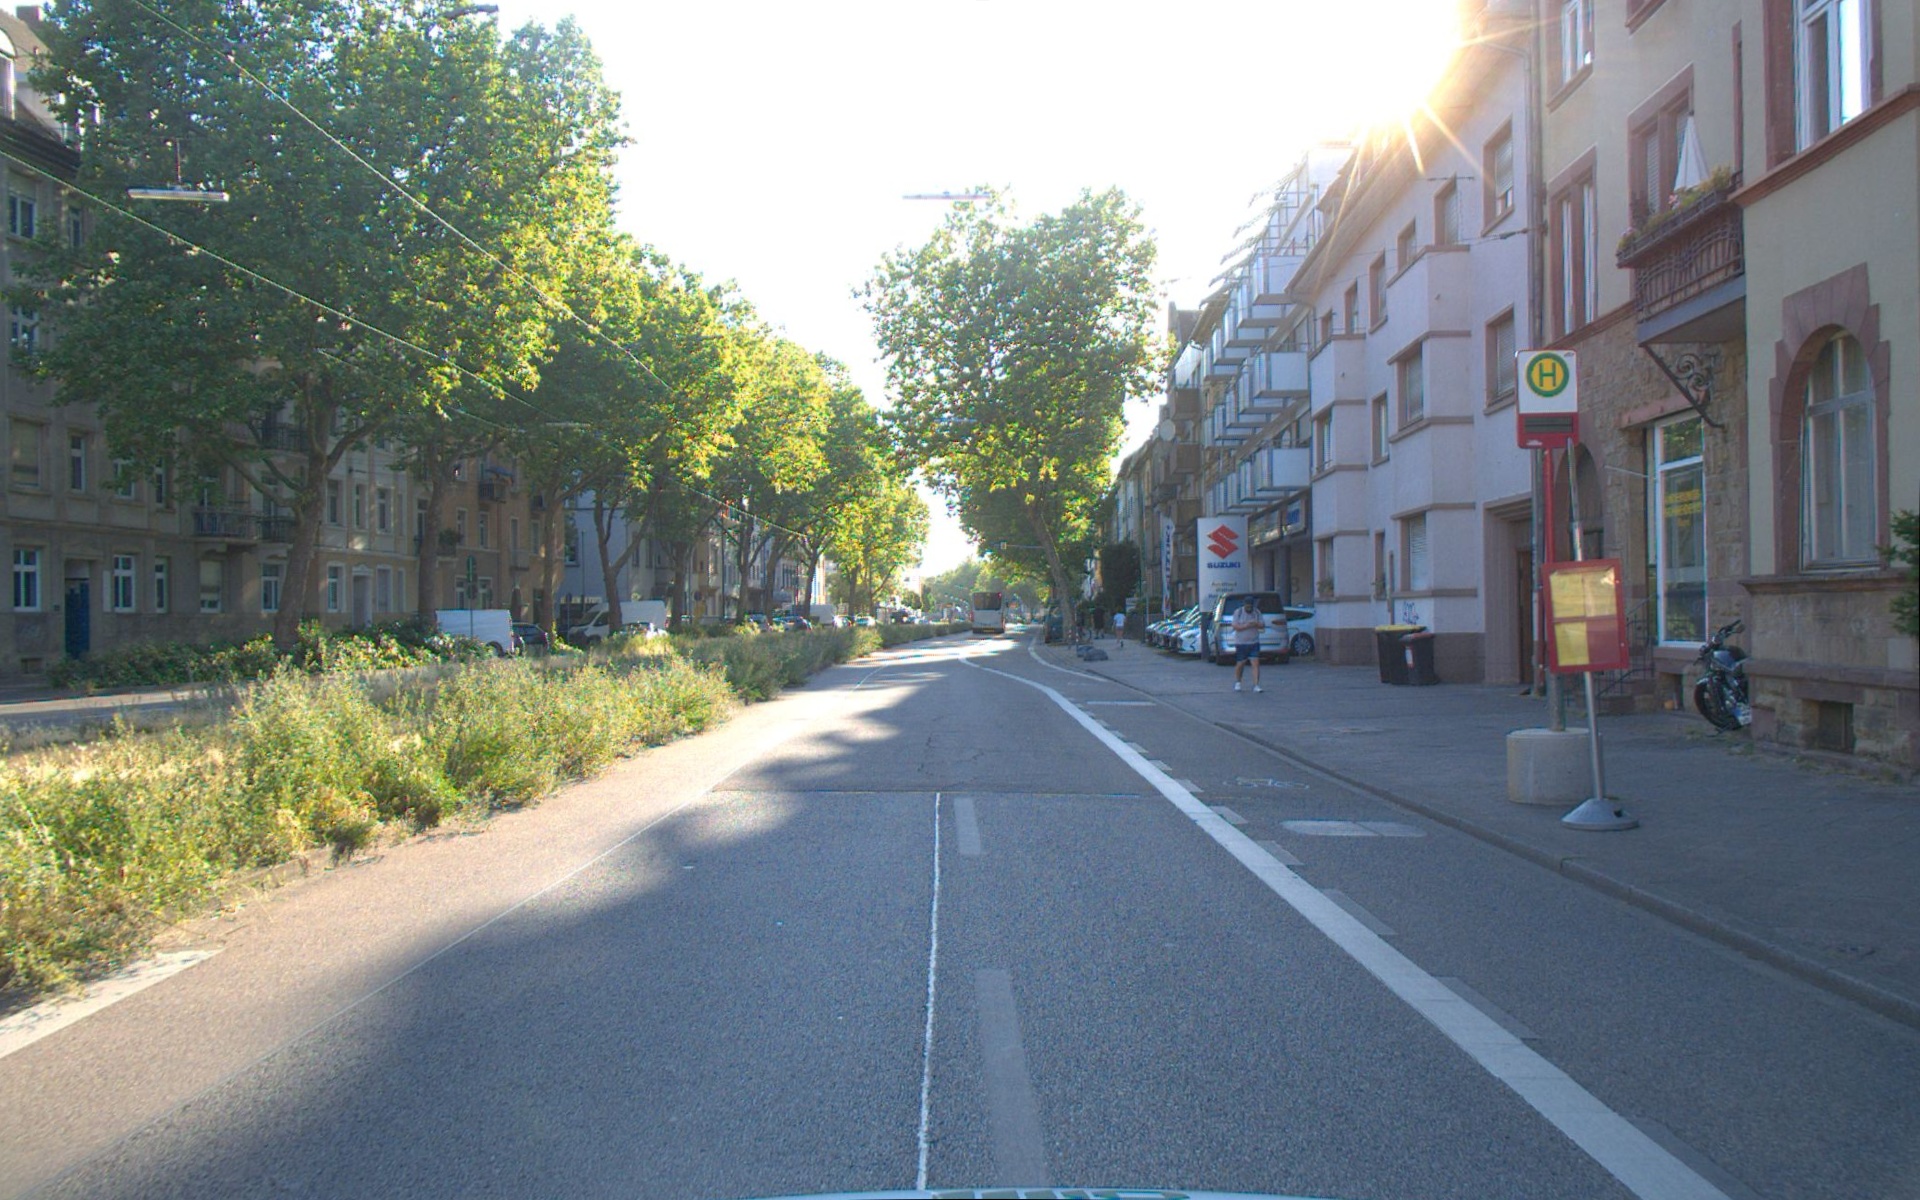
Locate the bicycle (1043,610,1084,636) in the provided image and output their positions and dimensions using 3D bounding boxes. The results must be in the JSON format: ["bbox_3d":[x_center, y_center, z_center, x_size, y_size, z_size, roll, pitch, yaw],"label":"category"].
[{"bbox_3d":[4.735,1.056,75.669,1.806,1.163,0.348,-1,-1,2],"label":"bicycle"}]

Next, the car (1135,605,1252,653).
[{"bbox_3d":[7.978,0.987,56.784,3.740,1.567,1.859,-1,0,1],"label":"car"}]

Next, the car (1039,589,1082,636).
[{"bbox_3d":[5.071,0.674,84.243,1.952,2.297,5.236,-1,-1,1],"label":"car"}]

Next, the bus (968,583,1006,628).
[{"bbox_3d":[2.058,0.457,128.065,2.775,3.292,8.181,-1,-1,0],"label":"bus"}]

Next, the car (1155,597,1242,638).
[{"bbox_3d":[9.760,0.725,67.927,3.348,1.573,1.442,-1,-1,0],"label":"car"}]

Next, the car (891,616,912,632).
[{"bbox_3d":[-6.320,2.584,177.958,1.833,1.723,4.768,-1,-1,-7],"label":"car"}]

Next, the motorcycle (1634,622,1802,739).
[{"bbox_3d":[8.036,0.826,17.668,0.577,1.157,2.504,-1,-1,-1],"label":"motorcycle"}]

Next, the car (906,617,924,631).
[{"bbox_3d":[-5.379,2.878,198.724,1.752,1.601,4.001,-1,-1,3],"label":"car"}]

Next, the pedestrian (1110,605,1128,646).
[{"bbox_3d":[6.480,1.032,67.392,0.649,1.657,0.923,-1,-1,2],"label":"pedestrian"}]

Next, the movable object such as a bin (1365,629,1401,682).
[{"bbox_3d":[8.070,1.051,31.554,0.542,0.986,0.585,-1,-1,4],"label":"movable object such as a bin"}]

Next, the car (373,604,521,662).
[{"bbox_3d":[-19.655,1.238,63.538,5.197,2.102,1.697,-1,-1,-40],"label":"car"}]

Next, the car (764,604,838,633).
[{"bbox_3d":[-15.501,1.789,161.160,6.831,2.725,2.174,-1,-1,-19],"label":"car"}]

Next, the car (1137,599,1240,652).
[{"bbox_3d":[8.075,0.907,58.701,3.505,1.750,1.683,-1,1,4],"label":"car"}]

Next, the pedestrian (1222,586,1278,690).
[{"bbox_3d":[5.295,0.694,30.291,0.811,1.844,1.150,-1,-1,1],"label":"pedestrian"}]

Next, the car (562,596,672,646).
[{"bbox_3d":[-18.371,1.087,88.639,5.457,2.573,2.095,-1,-1,-40],"label":"car"}]

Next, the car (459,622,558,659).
[{"bbox_3d":[-19.131,1.700,70.172,3.693,1.447,1.697,-1,-1,-40],"label":"car"}]

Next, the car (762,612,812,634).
[{"bbox_3d":[-15.234,2.026,145.399,3.944,1.728,1.838,-3,0,-29],"label":"car"}]

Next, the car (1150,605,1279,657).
[{"bbox_3d":[7.977,0.961,52.044,3.789,1.540,1.809,-1,0,1],"label":"car"}]

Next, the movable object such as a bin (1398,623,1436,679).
[{"bbox_3d":[8.333,0.927,30.182,0.542,0.986,0.585,-1,-1,4],"label":"movable object such as a bin"}]

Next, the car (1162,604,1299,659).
[{"bbox_3d":[8.032,0.922,49.340,3.735,1.527,1.913,-1,1,-3],"label":"car"}]

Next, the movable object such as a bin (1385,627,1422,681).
[{"bbox_3d":[8.265,1.006,30.822,0.542,0.986,0.585,-1,-1,4],"label":"movable object such as a bin"}]

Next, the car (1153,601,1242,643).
[{"bbox_3d":[9.281,0.881,64.877,3.346,1.545,1.758,-1,-1,4],"label":"car"}]

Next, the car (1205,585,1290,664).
[{"bbox_3d":[7.727,0.686,44.797,1.852,1.983,4.903,-1,-1,5],"label":"car"}]
